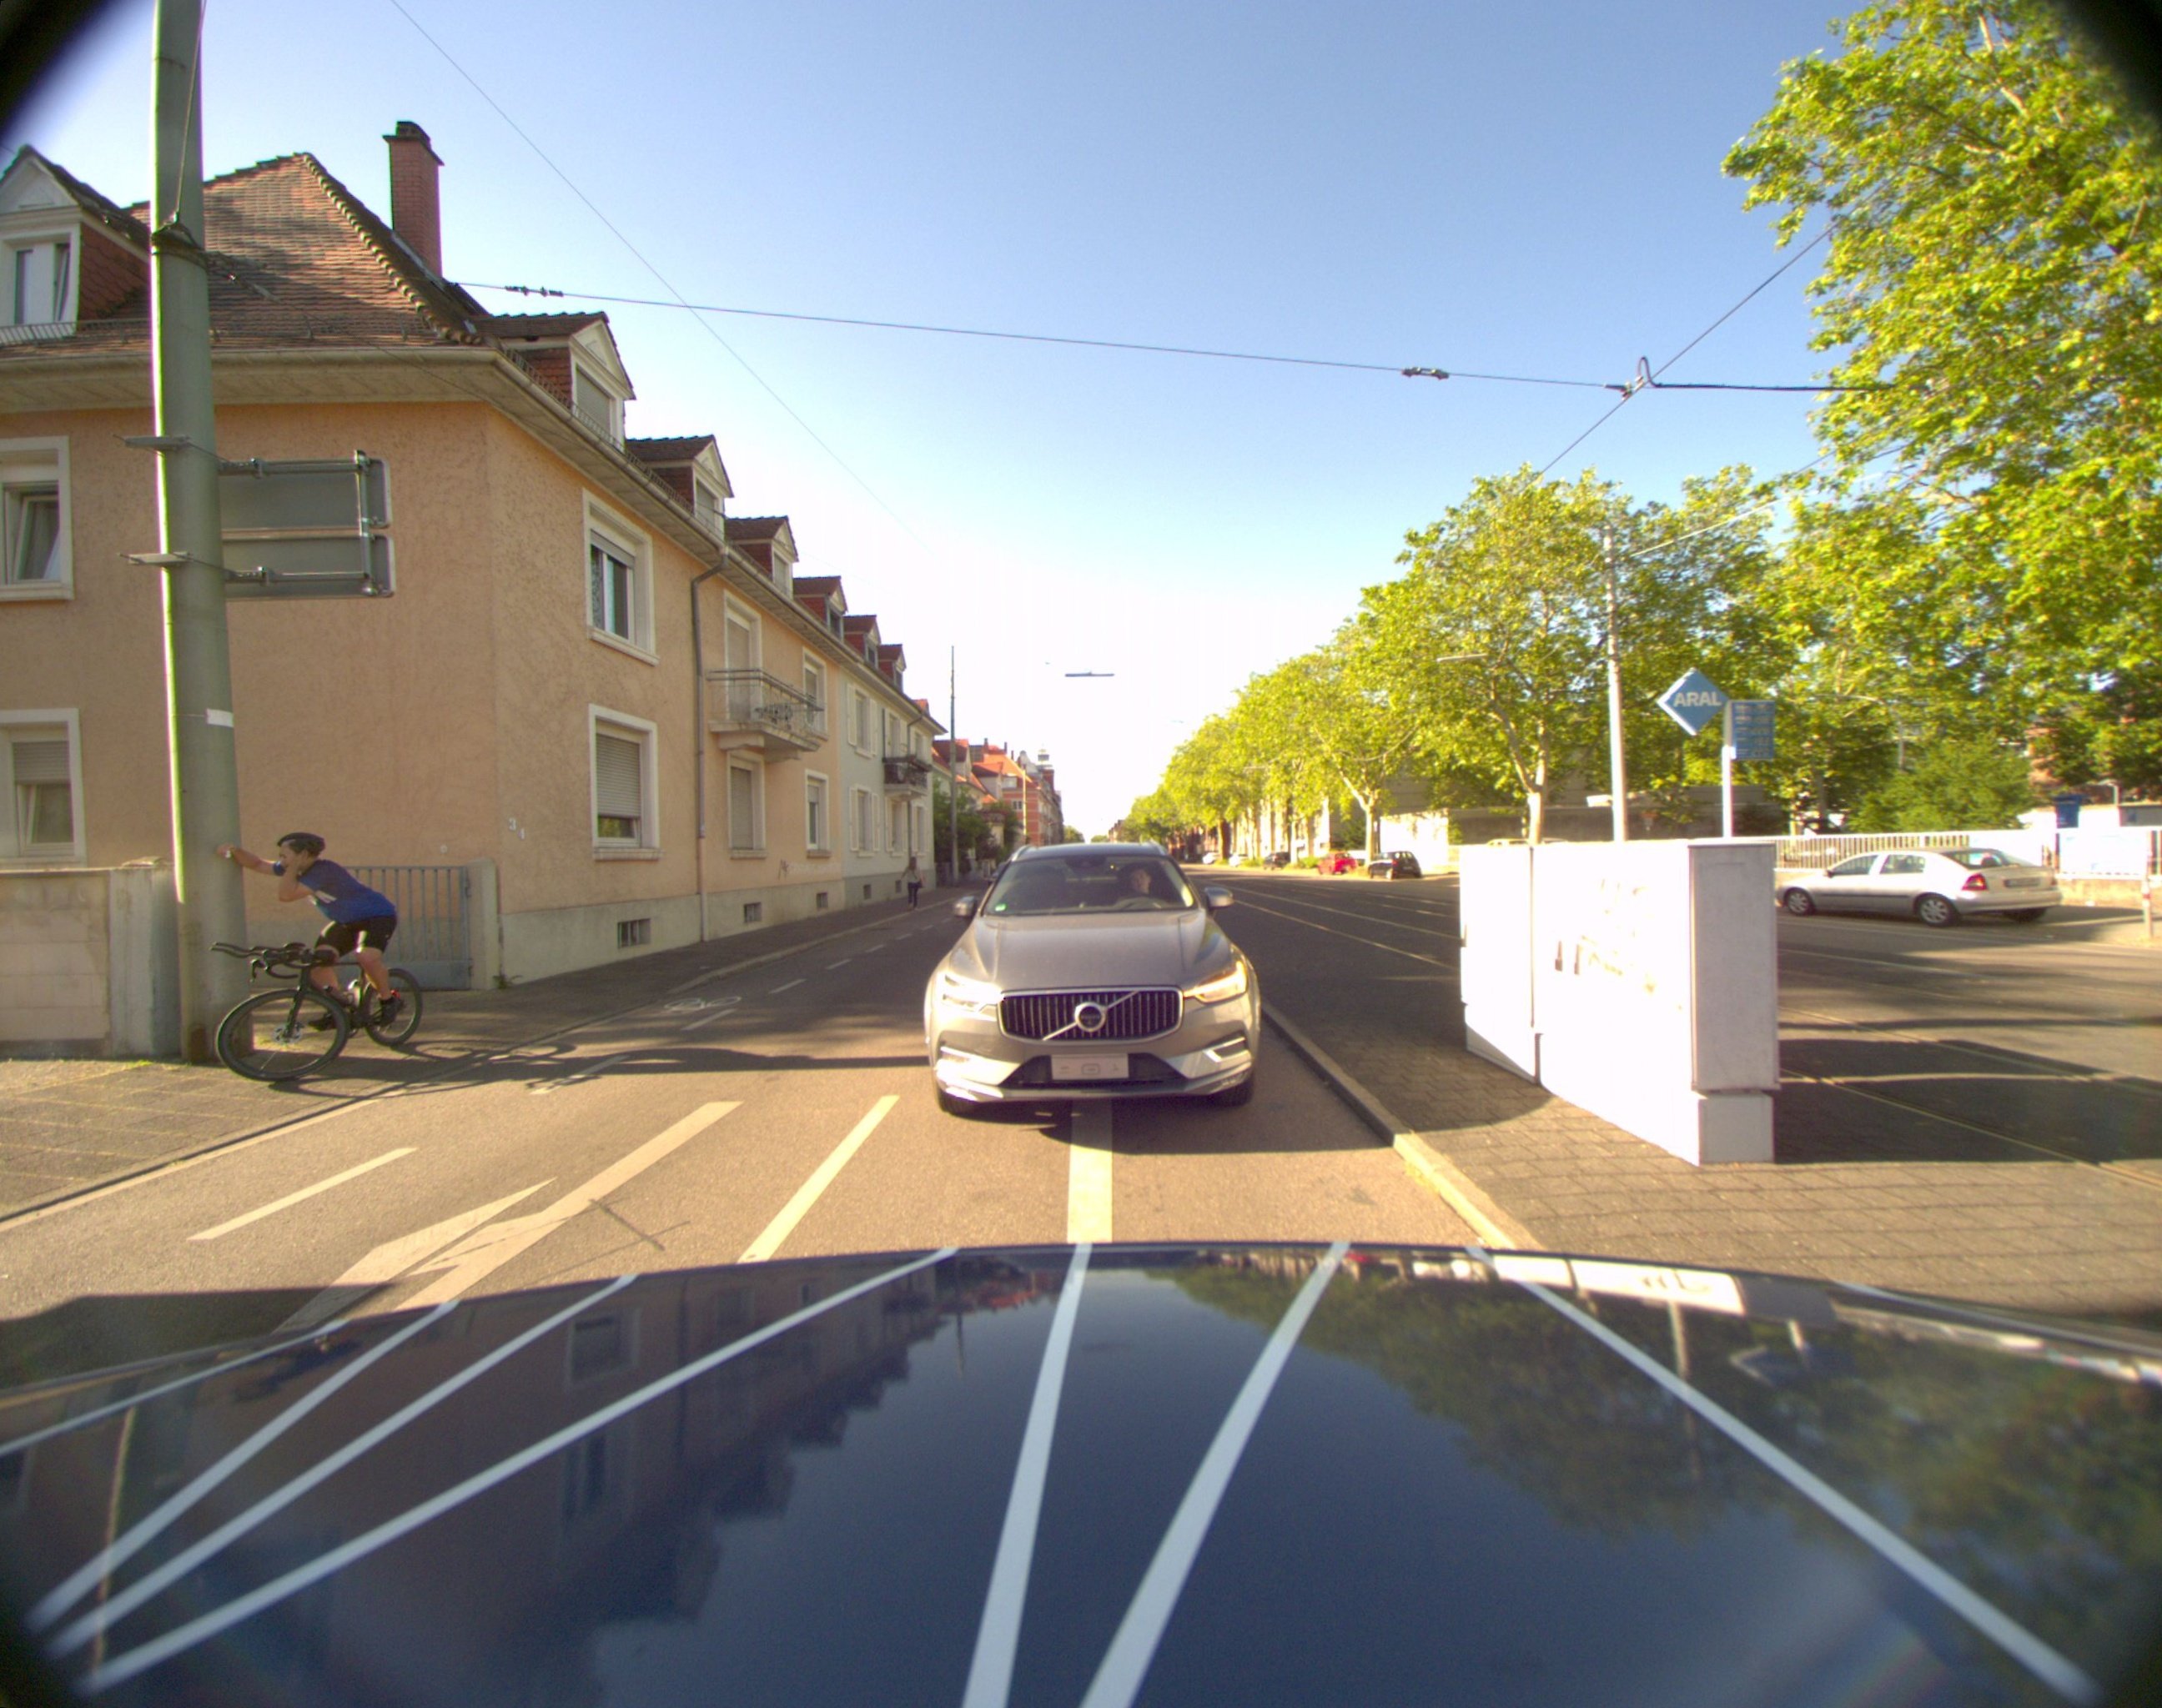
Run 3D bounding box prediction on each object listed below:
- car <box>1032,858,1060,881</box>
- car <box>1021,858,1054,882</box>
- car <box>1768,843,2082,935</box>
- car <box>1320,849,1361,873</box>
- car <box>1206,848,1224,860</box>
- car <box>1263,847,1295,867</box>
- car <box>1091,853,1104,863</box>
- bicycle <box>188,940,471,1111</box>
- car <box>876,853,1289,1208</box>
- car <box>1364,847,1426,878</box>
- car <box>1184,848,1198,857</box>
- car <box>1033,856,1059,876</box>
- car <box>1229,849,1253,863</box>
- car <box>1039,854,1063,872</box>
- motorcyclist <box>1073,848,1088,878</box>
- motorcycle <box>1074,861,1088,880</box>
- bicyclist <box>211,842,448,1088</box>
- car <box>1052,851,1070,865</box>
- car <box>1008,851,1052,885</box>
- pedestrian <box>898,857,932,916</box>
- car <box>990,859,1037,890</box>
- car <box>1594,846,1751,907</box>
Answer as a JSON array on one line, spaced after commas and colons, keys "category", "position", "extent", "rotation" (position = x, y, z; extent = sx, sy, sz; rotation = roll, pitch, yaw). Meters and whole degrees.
[{"category": "car", "position": [-2.478, 1.078, 54.434], "extent": [1.785, 1.468, 4.000], "rotation": [-1, 0, 1]}, {"category": "car", "position": [-2.694, 0.985, 48.298], "extent": [1.785, 1.346, 4.000], "rotation": [-1, 0, 1]}, {"category": "car", "position": [16.239, 0.595, 14.988], "extent": [1.795, 1.455, 3.966], "rotation": [-4, 0, 2]}, {"category": "car", "position": [16.932, 0.430, 49.747], "extent": [1.641, 1.499, 3.046], "rotation": [-1, 0, 1]}, {"category": "car", "position": [17.715, -0.018, 100.668], "extent": [1.802, 1.504, 4.000], "rotation": [-1, 0, 1]}, {"category": "car", "position": [17.182, 0.281, 66.038], "extent": [1.802, 1.652, 4.000], "rotation": [-1, 0, 1]}, {"category": "car", "position": [2.742, 0.686, 124.967], "extent": [1.998, 1.543, 4.000], "rotation": [-1, 0, 1]}, {"category": "bicycle", "position": [-5.948, 1.297, 6.170], "extent": [0.572, 0.986, 1.698], "rotation": [2, 0, 1]}, {"category": "car", "position": [0.036, 0.847, 5.796], "extent": [1.940, 1.650, 4.321], "rotation": [-1, 0, 1]}, {"category": "car", "position": [16.872, 0.418, 40.977], "extent": [1.826, 1.521, 3.653], "rotation": [-2, 0, 1]}, {"category": "car", "position": [18.174, -0.228, 125.626], "extent": [1.802, 1.504, 4.000], "rotation": [-1, 0, 1]}, {"category": "car", "position": [-2.764, 0.938, 60.670], "extent": [1.785, 1.468, 4.000], "rotation": [-1, 0, 1]}, {"category": "car", "position": [17.530, 0.215, 83.424], "extent": [1.802, 1.489, 4.000], "rotation": [-1, 0, 1]}, {"category": "car", "position": [-2.575, 0.760, 66.823], "extent": [1.875, 1.477, 4.000], "rotation": [-1, 0, 1]}, {"category": "motorcyclist", "position": [-0.030, 0.541, 48.031], "extent": [0.827, 1.832, 1.159], "rotation": [-2, 1, 1]}, {"category": "motorcycle", "position": [0.010, 1.019, 48.002], "extent": [0.792, 1.095, 2.519], "rotation": [0, 0, 1]}, {"category": "bicyclist", "position": [-6.153, 0.857, 6.284], "extent": [1.076, 1.854, 0.846], "rotation": [2, 1, 1]}, {"category": "car", "position": [-2.220, 0.441, 85.485], "extent": [1.875, 1.477, 4.000], "rotation": [-1, 0, 1]}, {"category": "car", "position": [-2.799, 0.709, 42.879], "extent": [1.751, 1.767, 5.351], "rotation": [-1, 0, 3]}, {"category": "pedestrian", "position": [-4.925, 0.951, 22.644], "extent": [0.694, 1.652, 1.098], "rotation": [-2, 1, 0]}, {"category": "car", "position": [-3.220, 0.958, 37.020], "extent": [1.647, 1.357, 3.868], "rotation": [-1, 0, 4]}, {"category": "car", "position": [16.424, 0.573, 21.336], "extent": [1.692, 1.455, 3.519], "rotation": [-4, 0, 2]}]
